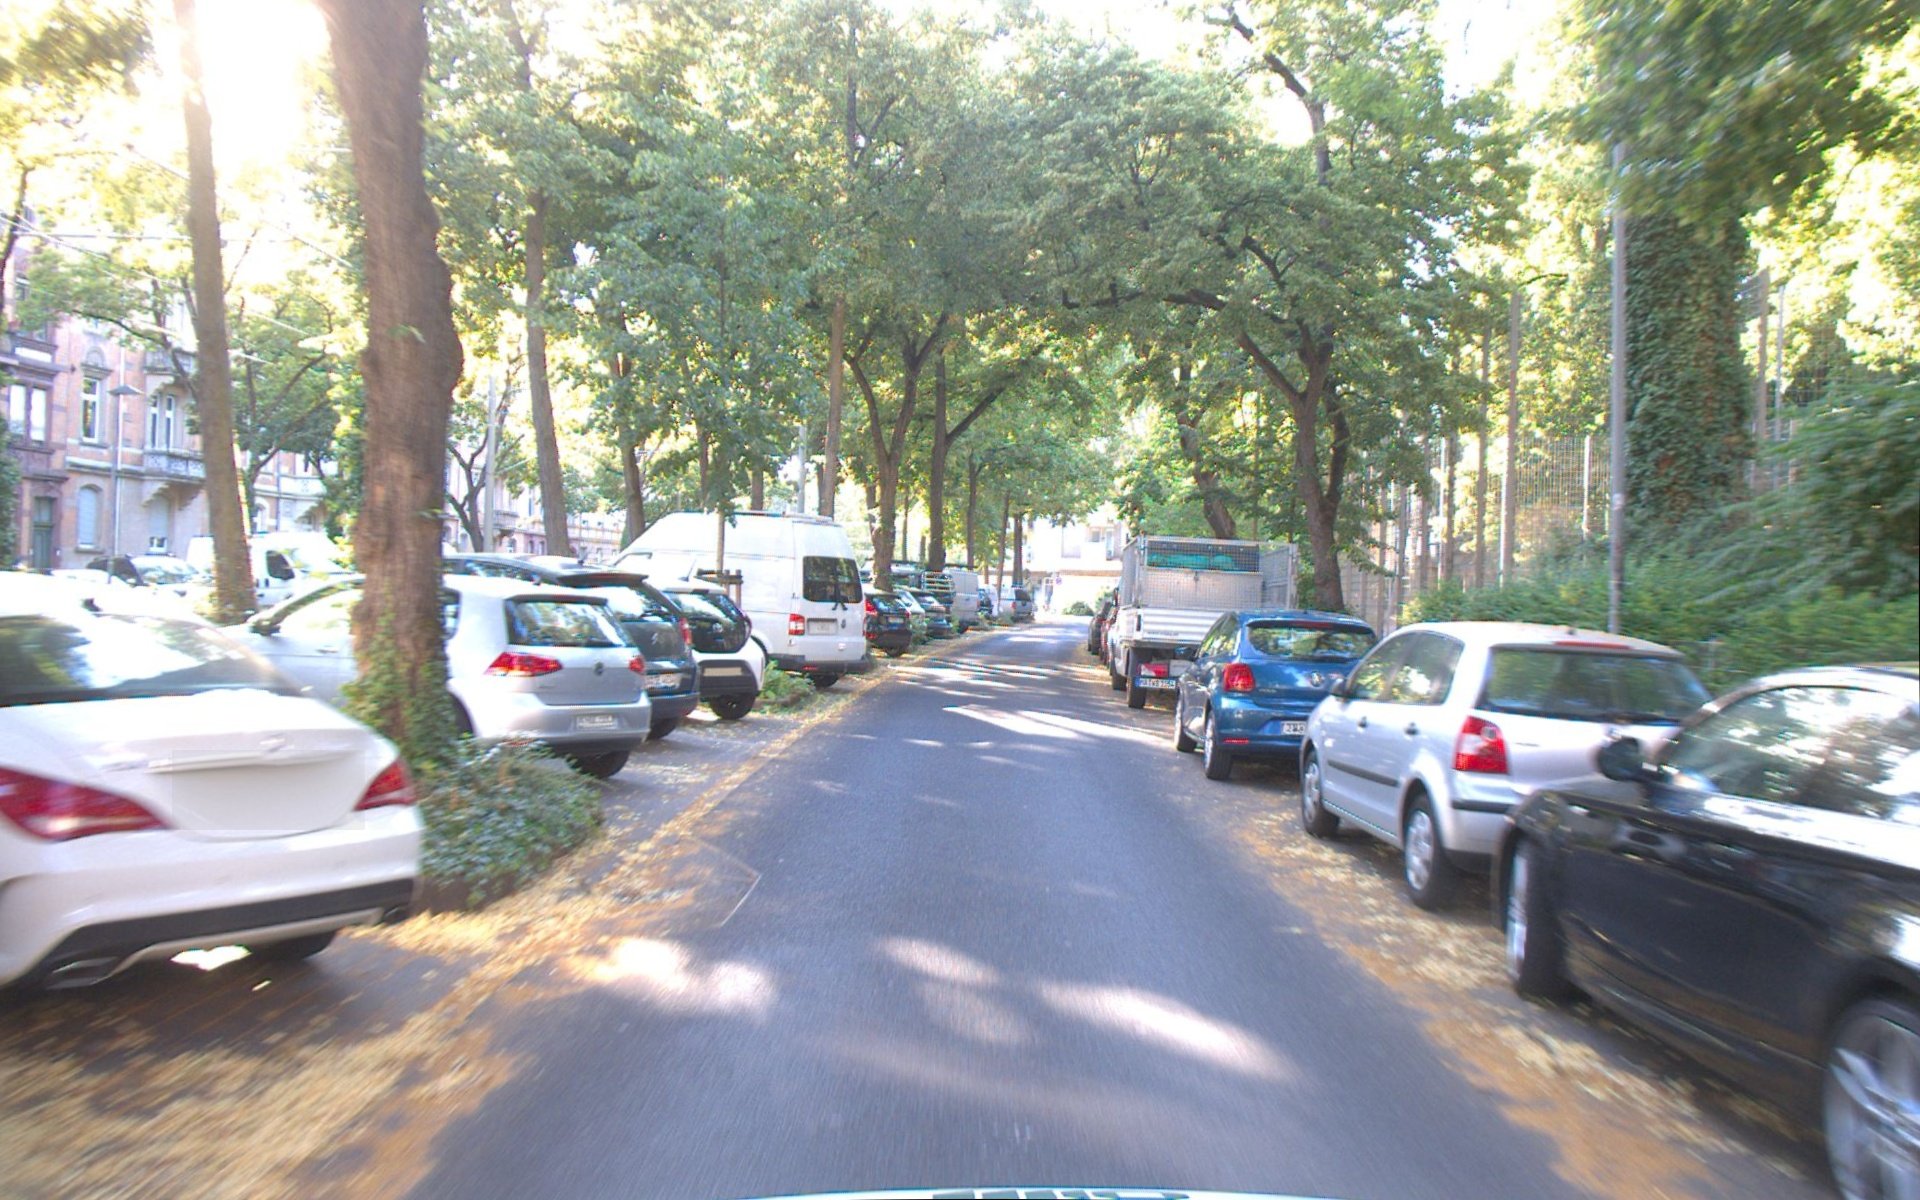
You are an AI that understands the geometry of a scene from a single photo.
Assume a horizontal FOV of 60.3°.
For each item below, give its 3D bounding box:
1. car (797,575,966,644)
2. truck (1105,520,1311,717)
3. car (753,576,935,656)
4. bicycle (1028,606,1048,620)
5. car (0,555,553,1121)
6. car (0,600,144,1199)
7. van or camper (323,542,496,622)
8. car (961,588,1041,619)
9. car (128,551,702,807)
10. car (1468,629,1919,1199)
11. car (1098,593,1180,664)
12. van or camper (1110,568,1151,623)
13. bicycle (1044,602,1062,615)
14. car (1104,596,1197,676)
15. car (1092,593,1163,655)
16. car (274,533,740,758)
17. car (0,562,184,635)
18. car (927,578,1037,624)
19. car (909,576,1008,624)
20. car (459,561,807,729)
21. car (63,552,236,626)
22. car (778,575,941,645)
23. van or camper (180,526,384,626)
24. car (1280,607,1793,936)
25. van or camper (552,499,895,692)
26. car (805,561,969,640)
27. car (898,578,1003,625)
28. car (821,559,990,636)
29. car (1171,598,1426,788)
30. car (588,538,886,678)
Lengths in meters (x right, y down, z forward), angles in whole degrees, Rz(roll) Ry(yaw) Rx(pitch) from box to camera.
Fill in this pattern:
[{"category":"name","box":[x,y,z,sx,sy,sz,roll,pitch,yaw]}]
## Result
[{"category":"car","box":[-2.231,0.239,46.276,4.485,1.567,1.926,5,0,38]},{"category":"truck","box":[3.424,0.216,24.311,2.248,2.428,6.936,1,0,3]},{"category":"car","box":[-2.606,0.344,36.837,3.753,1.464,1.816,5,0,39]},{"category":"bicycle","box":[6.047,0.995,128.689,0.630,1.040,2.071,1,0,-26]},{"category":"car","box":[-3.892,0.583,6.444,4.370,1.428,1.853,4,1,30]},{"category":"car","box":[-3.901,0.590,3.425,4.218,1.428,1.742,4,1,27]},{"category":"van or camper","box":[-17.505,-0.569,52.494,5.434,2.412,2.301,0,0,32]},{"category":"car","box":[2.310,0.194,94.084,4.111,1.463,1.828,4,0,31]},{"category":"car","box":[-4.243,0.519,12.764,4.153,1.465,1.853,4,0,30]},{"category":"car","box":[3.071,0.865,5.115,1.638,1.415,4.265,1,0,0]},{"category":"car","box":[4.038,0.609,37.776,1.637,1.479,3.951,1,0,3]},{"category":"van or camper","box":[9.150,-0.225,88.909,2.040,2.810,5.849,1,0,6]},{"category":"bicycle","box":[7.109,0.638,126.831,0.536,0.920,1.719,1,0,-29]},{"category":"car","box":[3.692,0.663,32.612,1.637,1.422,4.301,1,0,4]},{"category":"car","box":[4.245,0.576,42.376,1.637,1.479,3.951,1,0,3]},{"category":"car","box":[-4.290,0.374,15.640,3.950,1.691,1.855,4,0,27]},{"category":"car","box":[-18.783,-0.012,35.733,4.238,1.409,1.899,-2,-1,37]},{"category":"car","box":[1.037,0.044,79.370,4.899,1.812,1.982,4,0,33]},{"category":"car","box":[-0.094,-0.002,73.446,4.087,1.812,1.873,5,0,42]},{"category":"car","box":[-3.675,0.460,18.466,3.478,1.519,1.820,4,0,34]},{"category":"car","box":[-18.596,-0.250,37.900,4.240,1.610,1.898,0,0,38]},{"category":"car","box":[-2.678,0.264,43.625,4.013,1.513,1.777,5,0,36]},{"category":"van or camper","box":[-18.012,-0.620,43.893,5.552,2.511,1.997,0,0,29]},{"category":"car","box":[3.118,0.825,9.808,1.638,1.484,3.893,1,0,0]},{"category":"van or camper","box":[-3.590,-0.104,24.856,4.783,2.513,2.040,4,0,32]},{"category":"car","box":[-2.201,0.010,49.046,4.624,1.976,1.926,5,0,38]},{"category":"car","box":[-0.406,0.041,70.237,4.081,1.672,1.907,5,0,37]},{"category":"car","box":[-1.861,-0.108,55.391,5.404,2.174,2.074,4,0,35]},{"category":"car","box":[2.993,0.749,15.363,1.638,1.484,3.894,1,0,2]},{"category":"car","box":[-3.845,0.113,28.180,4.786,2.012,2.039,4,0,34]}]
